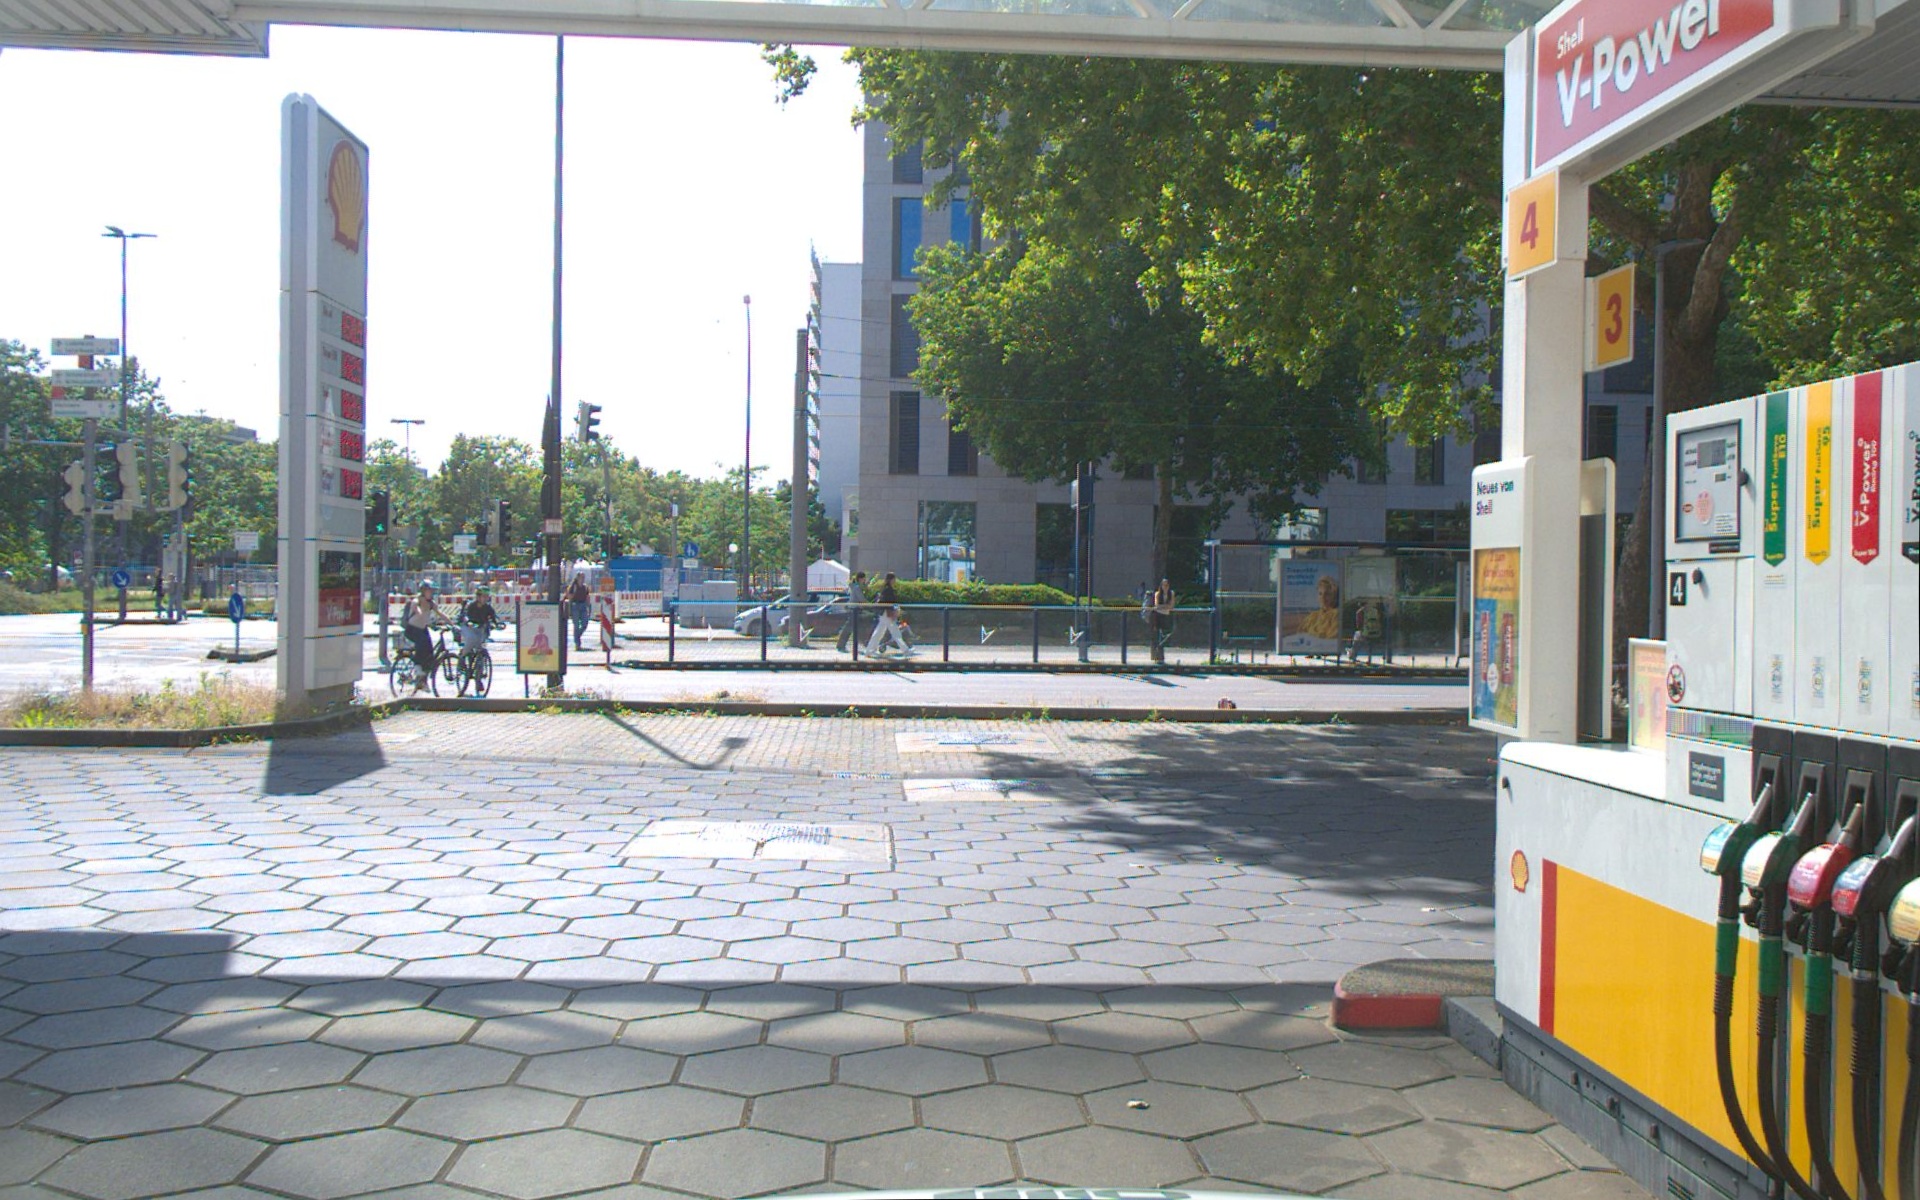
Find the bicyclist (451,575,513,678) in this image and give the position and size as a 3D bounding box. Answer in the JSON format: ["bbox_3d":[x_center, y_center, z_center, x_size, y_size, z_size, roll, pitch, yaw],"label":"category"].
[{"bbox_3d":[-7.412,0.397,25.650,0.850,1.571,0.532,1,0,41],"label":"bicyclist"}]

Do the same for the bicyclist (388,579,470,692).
[{"bbox_3d":[-7.808,0.510,24.297,1.152,1.608,0.636,1,0,41],"label":"bicyclist"}]

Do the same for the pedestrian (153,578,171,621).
[{"bbox_3d":[-28.443,-0.021,58.943,0.557,1.494,0.509,0,0,-28],"label":"pedestrian"}]

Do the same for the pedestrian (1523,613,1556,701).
[{"bbox_3d":[11.709,1.144,33.427,0.489,1.766,0.406,1,0,-1],"label":"pedestrian"}]

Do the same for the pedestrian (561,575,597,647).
[{"bbox_3d":[-8.504,0.241,36.921,0.636,1.567,0.503,1,0,5],"label":"pedestrian"}]

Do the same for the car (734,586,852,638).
[{"bbox_3d":[-5.254,0.369,51.852,3.614,1.579,1.589,1,0,-9],"label":"car"}]

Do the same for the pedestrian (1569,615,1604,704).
[{"bbox_3d":[12.652,1.198,33.423,0.489,1.766,0.524,1,0,-1],"label":"pedestrian"}]

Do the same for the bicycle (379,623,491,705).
[{"bbox_3d":[-7.707,0.912,24.221,1.990,1.101,0.636,1,0,42],"label":"bicycle"}]

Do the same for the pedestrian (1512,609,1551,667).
[{"bbox_3d":[11.550,0.763,33.457,0.615,1.157,0.524,1,0,3],"label":"pedestrian"}]

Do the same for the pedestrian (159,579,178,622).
[{"bbox_3d":[-27.778,0.015,58.058,0.557,1.494,0.509,0,0,-28],"label":"pedestrian"}]

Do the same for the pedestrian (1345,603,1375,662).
[{"bbox_3d":[8.012,0.655,33.147,0.488,1.157,0.524,1,0,3],"label":"pedestrian"}]

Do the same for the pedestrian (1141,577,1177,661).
[{"bbox_3d":[3.934,0.372,32.725,0.572,1.619,0.670,1,2,-4],"label":"pedestrian"}]

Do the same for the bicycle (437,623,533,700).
[{"bbox_3d":[-7.360,0.928,25.583,1.833,1.101,0.522,1,0,41],"label":"bicycle"}]

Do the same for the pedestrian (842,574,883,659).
[{"bbox_3d":[-1.991,0.336,33.816,0.760,1.712,0.503,1,0,5],"label":"pedestrian"}]

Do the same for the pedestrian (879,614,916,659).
[{"bbox_3d":[-1.273,0.744,33.751,0.676,0.895,0.503,1,0,5],"label":"pedestrian"}]

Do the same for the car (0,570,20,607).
[{"bbox_3d":[-49.771,-0.546,83.102,3.905,1.847,2.000,-1,0,0],"label":"car"}]

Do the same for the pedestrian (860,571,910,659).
[{"bbox_3d":[-1.476,0.296,32.566,0.912,1.712,0.503,1,0,5],"label":"pedestrian"}]

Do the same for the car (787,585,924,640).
[{"bbox_3d":[-3.129,0.368,49.072,3.913,1.579,1.700,1,0,-9],"label":"car"}]
